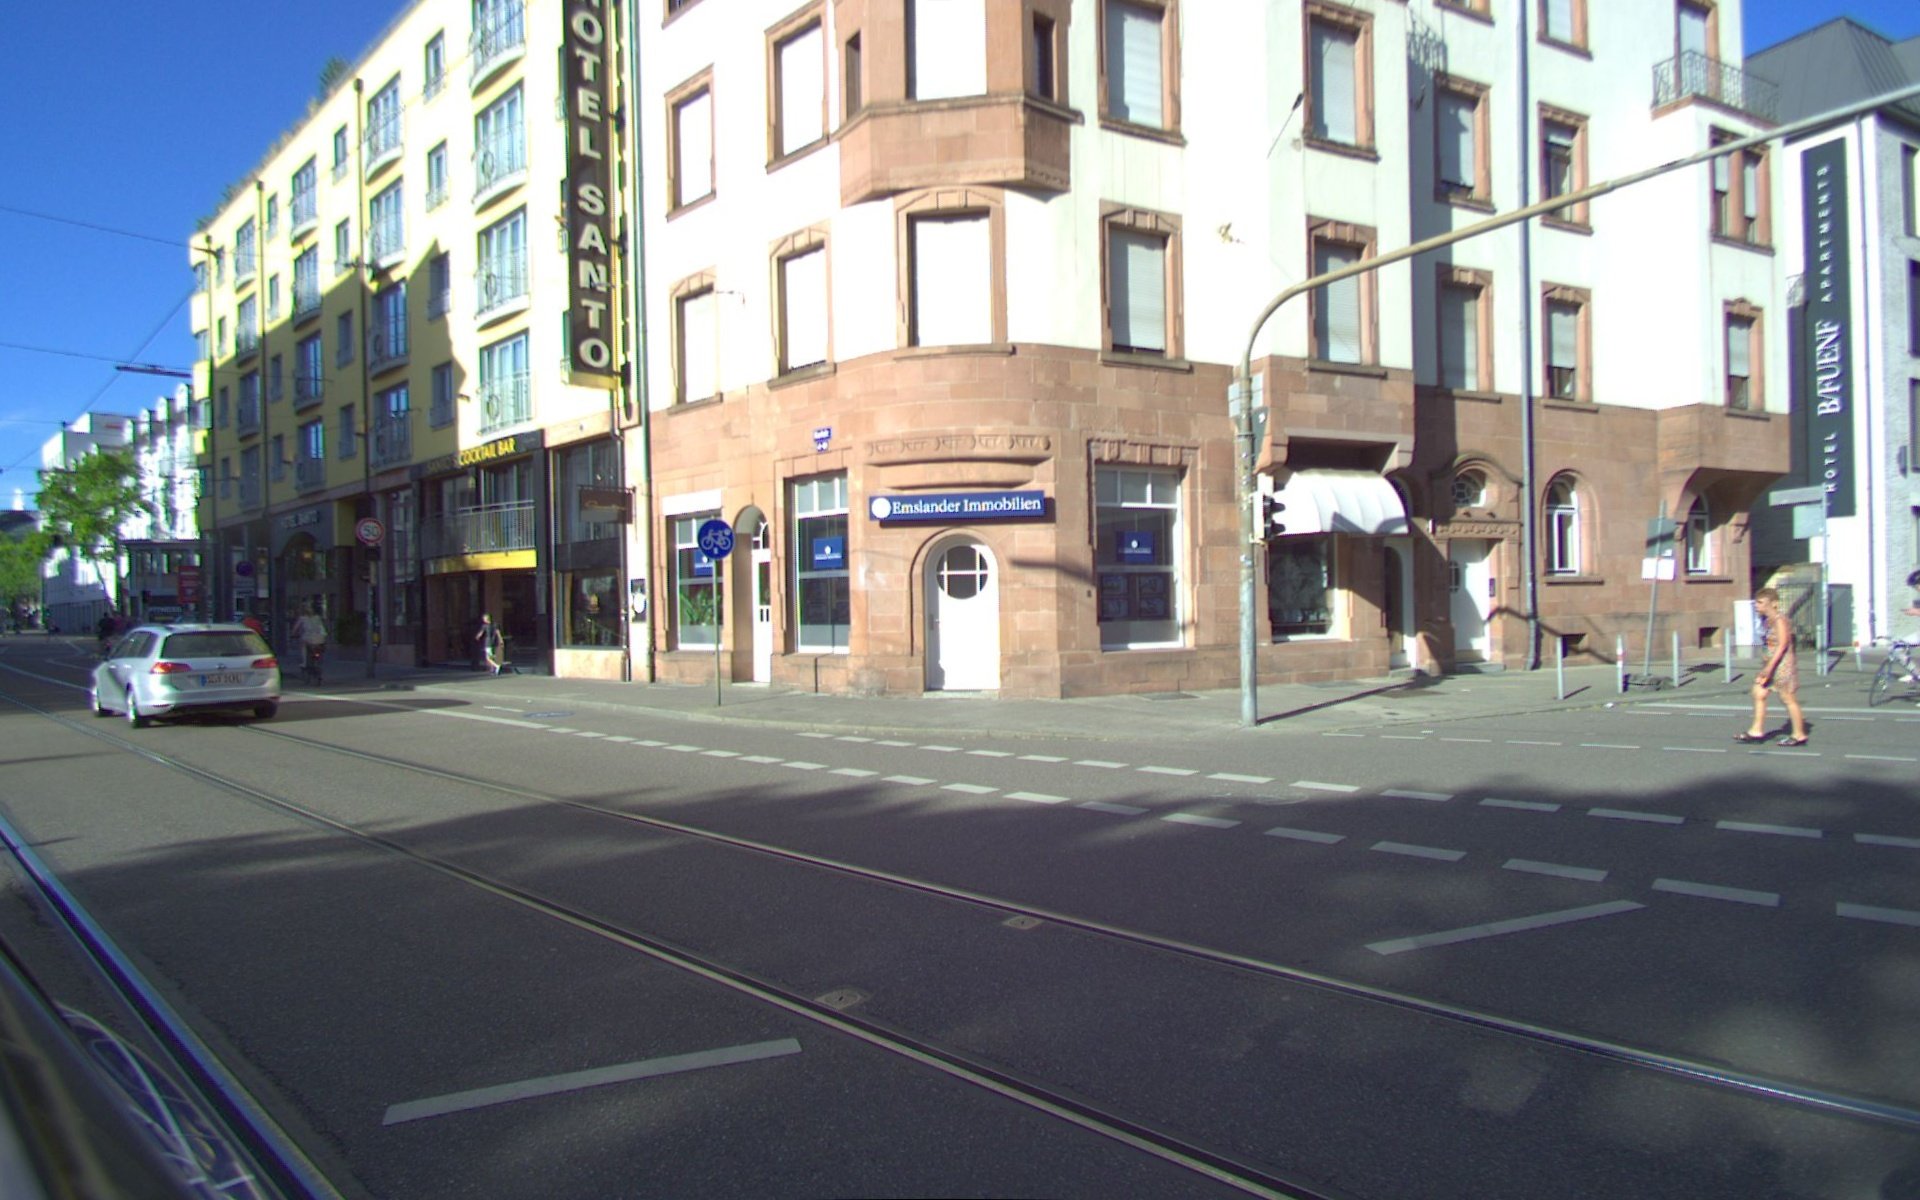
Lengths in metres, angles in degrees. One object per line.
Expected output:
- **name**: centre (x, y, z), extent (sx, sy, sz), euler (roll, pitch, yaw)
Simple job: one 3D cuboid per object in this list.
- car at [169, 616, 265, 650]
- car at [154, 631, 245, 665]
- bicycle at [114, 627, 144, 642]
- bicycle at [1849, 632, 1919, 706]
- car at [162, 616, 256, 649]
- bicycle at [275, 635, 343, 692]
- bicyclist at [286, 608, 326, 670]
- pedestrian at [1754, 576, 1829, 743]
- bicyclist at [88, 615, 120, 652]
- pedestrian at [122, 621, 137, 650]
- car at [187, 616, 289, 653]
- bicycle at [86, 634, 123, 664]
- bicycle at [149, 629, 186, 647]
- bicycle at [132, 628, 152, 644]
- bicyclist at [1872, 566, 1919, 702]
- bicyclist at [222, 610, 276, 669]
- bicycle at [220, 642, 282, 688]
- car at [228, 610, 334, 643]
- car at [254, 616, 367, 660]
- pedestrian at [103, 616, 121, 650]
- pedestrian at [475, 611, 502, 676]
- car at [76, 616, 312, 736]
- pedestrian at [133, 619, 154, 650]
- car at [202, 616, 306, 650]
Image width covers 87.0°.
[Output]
- **car**: centre (-42.843, 1.867, 58.395), extent (1.785, 1.825, 4.188), euler (-2, 0, 42)
- **car**: centre (-46.503, 2.927, 61.948), extent (1.784, 1.776, 4.190), euler (-2, 1, 41)
- **bicycle**: centre (-65.404, 2.704, 79.663), extent (1.850, 1.085, 0.465), euler (-1, -1, -40)
- **bicycle**: centre (13.129, 0.892, 13.491), extent (1.790, 0.916, 0.791), euler (-1, 0, 2)
- **car**: centre (-44.476, 1.907, 59.978), extent (1.784, 1.825, 4.189), euler (-2, 0, 41)
- **bicycle**: centre (-14.899, 1.432, 23.144), extent (2.060, 1.192, 0.723), euler (-1, 1, 40)
- **bicyclist**: centre (-14.969, 0.886, 23.167), extent (0.678, 1.386, 0.584), euler (-2, 0, 40)
- **pedestrian**: centre (8.046, 0.555, 9.804), extent (0.516, 1.564, 0.537), euler (-2, 0, 40)
- **bicyclist**: centre (-32.858, 1.281, 38.829), extent (1.227, 1.391, 0.717), euler (-2, 0, 40)
- **pedestrian**: centre (-47.787, 2.021, 58.216), extent (0.499, 1.629, 0.566), euler (-2, -1, 40)
- **car**: centre (-39.001, 1.843, 54.730), extent (1.784, 1.825, 4.189), euler (1, 0, 41)
- **bicycle**: centre (-32.853, 1.881, 38.847), extent (2.060, 1.096, 0.723), euler (-2, -1, 40)
- **bicycle**: centre (-51.019, 2.436, 65.147), extent (1.847, 1.044, 0.427), euler (-1, -1, -24)
- **bicycle**: centre (-53.615, 2.356, 66.324), extent (1.874, 1.044, 0.519), euler (-2, -1, 34)
- **bicyclist**: centre (12.957, 0.436, 13.493), extent (0.961, 1.777, 0.615), euler (-1, -1, 2)
- **bicyclist**: centre (-17.636, 0.965, 25.109), extent (1.467, 1.391, 0.728), euler (-2, 0, 40)
- **bicycle**: centre (-17.538, 1.581, 25.016), extent (2.060, 1.073, 0.723), euler (-2, -3, 40)
- **car**: centre (-34.781, 1.311, 51.910), extent (1.784, 1.560, 4.189), euler (1, 0, 41)
- **car**: centre (-30.658, 1.758, 47.854), extent (1.785, 1.825, 4.189), euler (-1, 1, 42)
- **pedestrian**: centre (-48.497, 1.878, 57.875), extent (0.708, 1.961, 0.631), euler (-2, -1, 40)
- **pedestrian**: centre (-10.570, 0.959, 22.682), extent (0.399, 1.421, 0.517), euler (-2, 1, -41)
- **car**: centre (-11.639, 1.040, 15.269), extent (4.305, 1.513, 1.965), euler (-2, -1, 41)
- **pedestrian**: centre (-47.782, 2.031, 59.223), extent (0.778, 1.777, 0.708), euler (-2, -1, 33)
- **car**: centre (-37.176, 1.732, 53.361), extent (1.785, 1.621, 4.188), euler (-2, 0, 42)
